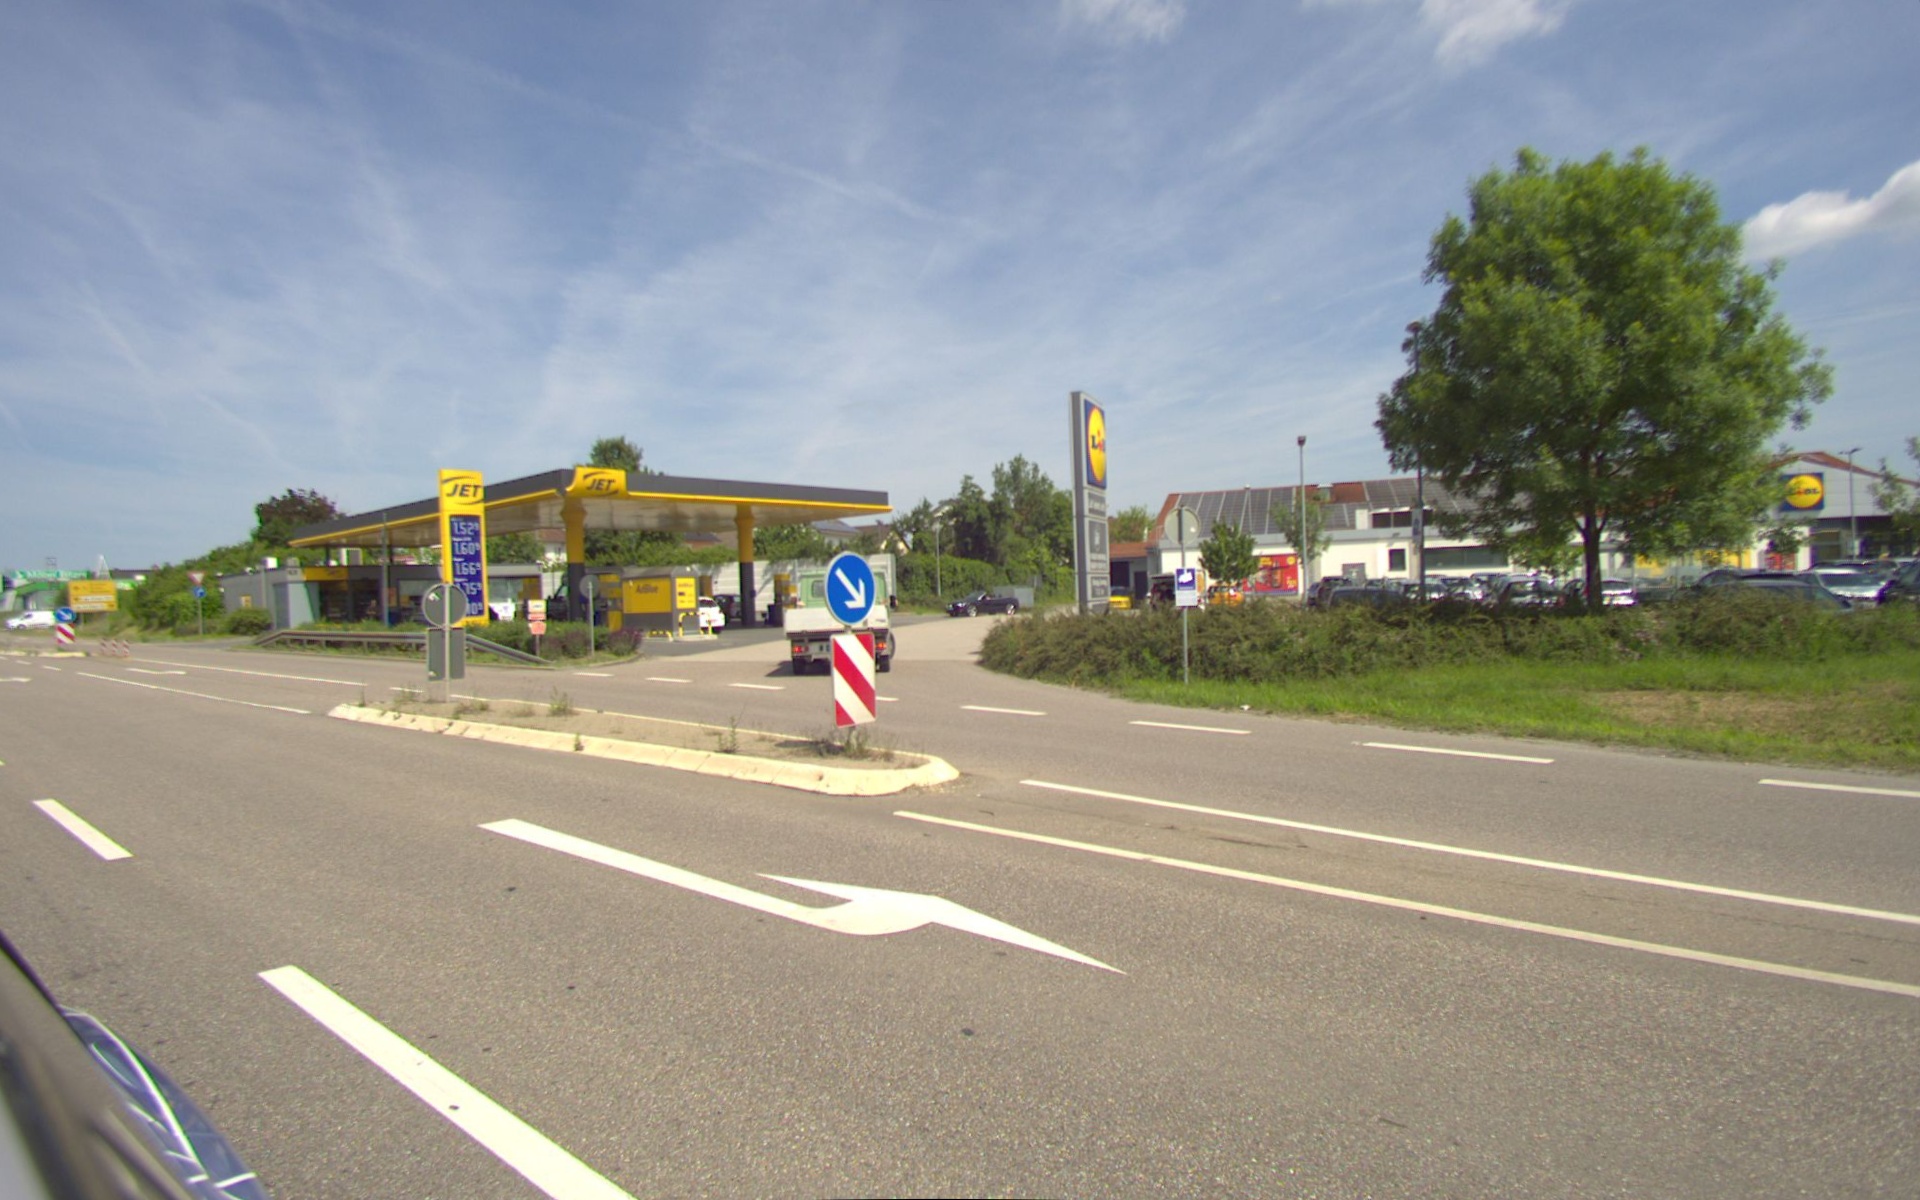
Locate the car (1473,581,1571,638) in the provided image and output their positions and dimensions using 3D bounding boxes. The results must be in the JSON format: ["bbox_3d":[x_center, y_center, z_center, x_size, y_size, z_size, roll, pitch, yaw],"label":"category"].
[{"bbox_3d":[16.510,0.230,29.928,1.769,1.513,4.121,-2,1,19],"label":"car"}]

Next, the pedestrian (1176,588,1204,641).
[{"bbox_3d":[7.002,0.440,30.797,0.801,1.587,0.701,-1,0,14],"label":"pedestrian"}]

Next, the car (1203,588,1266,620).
[{"bbox_3d":[13.240,0.167,48.659,1.879,1.453,3.958,-1,1,31],"label":"car"}]

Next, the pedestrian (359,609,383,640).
[{"bbox_3d":[-27.707,1.155,47.639,0.901,1.438,0.495,-1,0,-40],"label":"pedestrian"}]

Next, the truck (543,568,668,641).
[{"bbox_3d":[-15.409,0.180,43.819,6.279,2.944,2.222,-1,0,40],"label":"truck"}]

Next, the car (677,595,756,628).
[{"bbox_3d":[-12.579,0.600,52.254,3.862,1.625,1.735,-2,-1,31],"label":"car"}]

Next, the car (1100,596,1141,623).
[{"bbox_3d":[11.742,0.677,73.657,1.987,1.823,4.355,-1,0,22],"label":"car"}]

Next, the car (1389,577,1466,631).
[{"bbox_3d":[15.991,0.106,34.813,1.850,1.688,4.398,-2,0,18],"label":"car"}]

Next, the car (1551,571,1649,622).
[{"bbox_3d":[20.918,-0.112,33.242,1.764,1.540,3.977,-1,0,18],"label":"car"}]

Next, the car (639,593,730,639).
[{"bbox_3d":[-11.084,0.688,40.557,4.001,1.741,1.713,-2,-3,44],"label":"car"}]

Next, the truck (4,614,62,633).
[{"bbox_3d":[-105.763,2.687,115.490,1.999,2.024,4.711,-1,0,40],"label":"truck"}]

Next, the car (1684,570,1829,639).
[{"bbox_3d":[21.278,0.066,27.241,1.898,1.687,3.973,-1,1,20],"label":"car"}]

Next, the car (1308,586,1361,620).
[{"bbox_3d":[17.184,0.109,46.614,1.868,1.453,3.981,-1,1,15],"label":"car"}]

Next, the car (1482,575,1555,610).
[{"bbox_3d":[24.662,-0.330,44.851,1.868,1.453,3.981,-1,1,15],"label":"car"}]

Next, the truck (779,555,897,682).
[{"bbox_3d":[-2.653,0.360,22.728,2.215,2.393,6.358,-1,0,-5],"label":"truck"}]

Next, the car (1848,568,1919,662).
[{"bbox_3d":[17.987,0.254,18.266,1.683,1.670,3.971,-1,0,22],"label":"car"}]

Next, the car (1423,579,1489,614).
[{"bbox_3d":[22.261,-0.180,45.560,1.868,1.453,3.981,-1,1,15],"label":"car"}]

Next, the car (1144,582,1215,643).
[{"bbox_3d":[7.235,0.364,33.102,1.865,1.825,4.144,-2,0,18],"label":"car"}]

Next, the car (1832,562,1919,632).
[{"bbox_3d":[24.819,-0.093,26.340,1.913,1.701,3.973,-1,0,21],"label":"car"}]

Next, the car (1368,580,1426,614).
[{"bbox_3d":[20.028,-0.150,46.540,1.868,1.453,3.981,-1,1,15],"label":"car"}]

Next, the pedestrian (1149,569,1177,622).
[{"bbox_3d":[6.210,-0.132,30.902,0.801,1.587,0.701,-1,0,14],"label":"pedestrian"}]

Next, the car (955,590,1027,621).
[{"bbox_3d":[1.736,0.280,56.451,3.815,1.625,1.756,-1,-1,-40],"label":"car"}]

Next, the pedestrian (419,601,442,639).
[{"bbox_3d":[-26.031,0.967,49.781,0.639,1.852,0.788,-2,0,42],"label":"pedestrian"}]

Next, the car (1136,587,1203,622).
[{"bbox_3d":[10.150,0.195,48.867,1.765,1.551,3.955,-3,0,33],"label":"car"}]

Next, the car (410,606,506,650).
[{"bbox_3d":[-21.033,1.175,42.363,4.258,1.719,1.975,-2,-1,38],"label":"car"}]

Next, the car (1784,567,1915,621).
[{"bbox_3d":[27.220,-0.174,31.128,1.767,1.540,3.971,-1,0,22],"label":"car"}]
